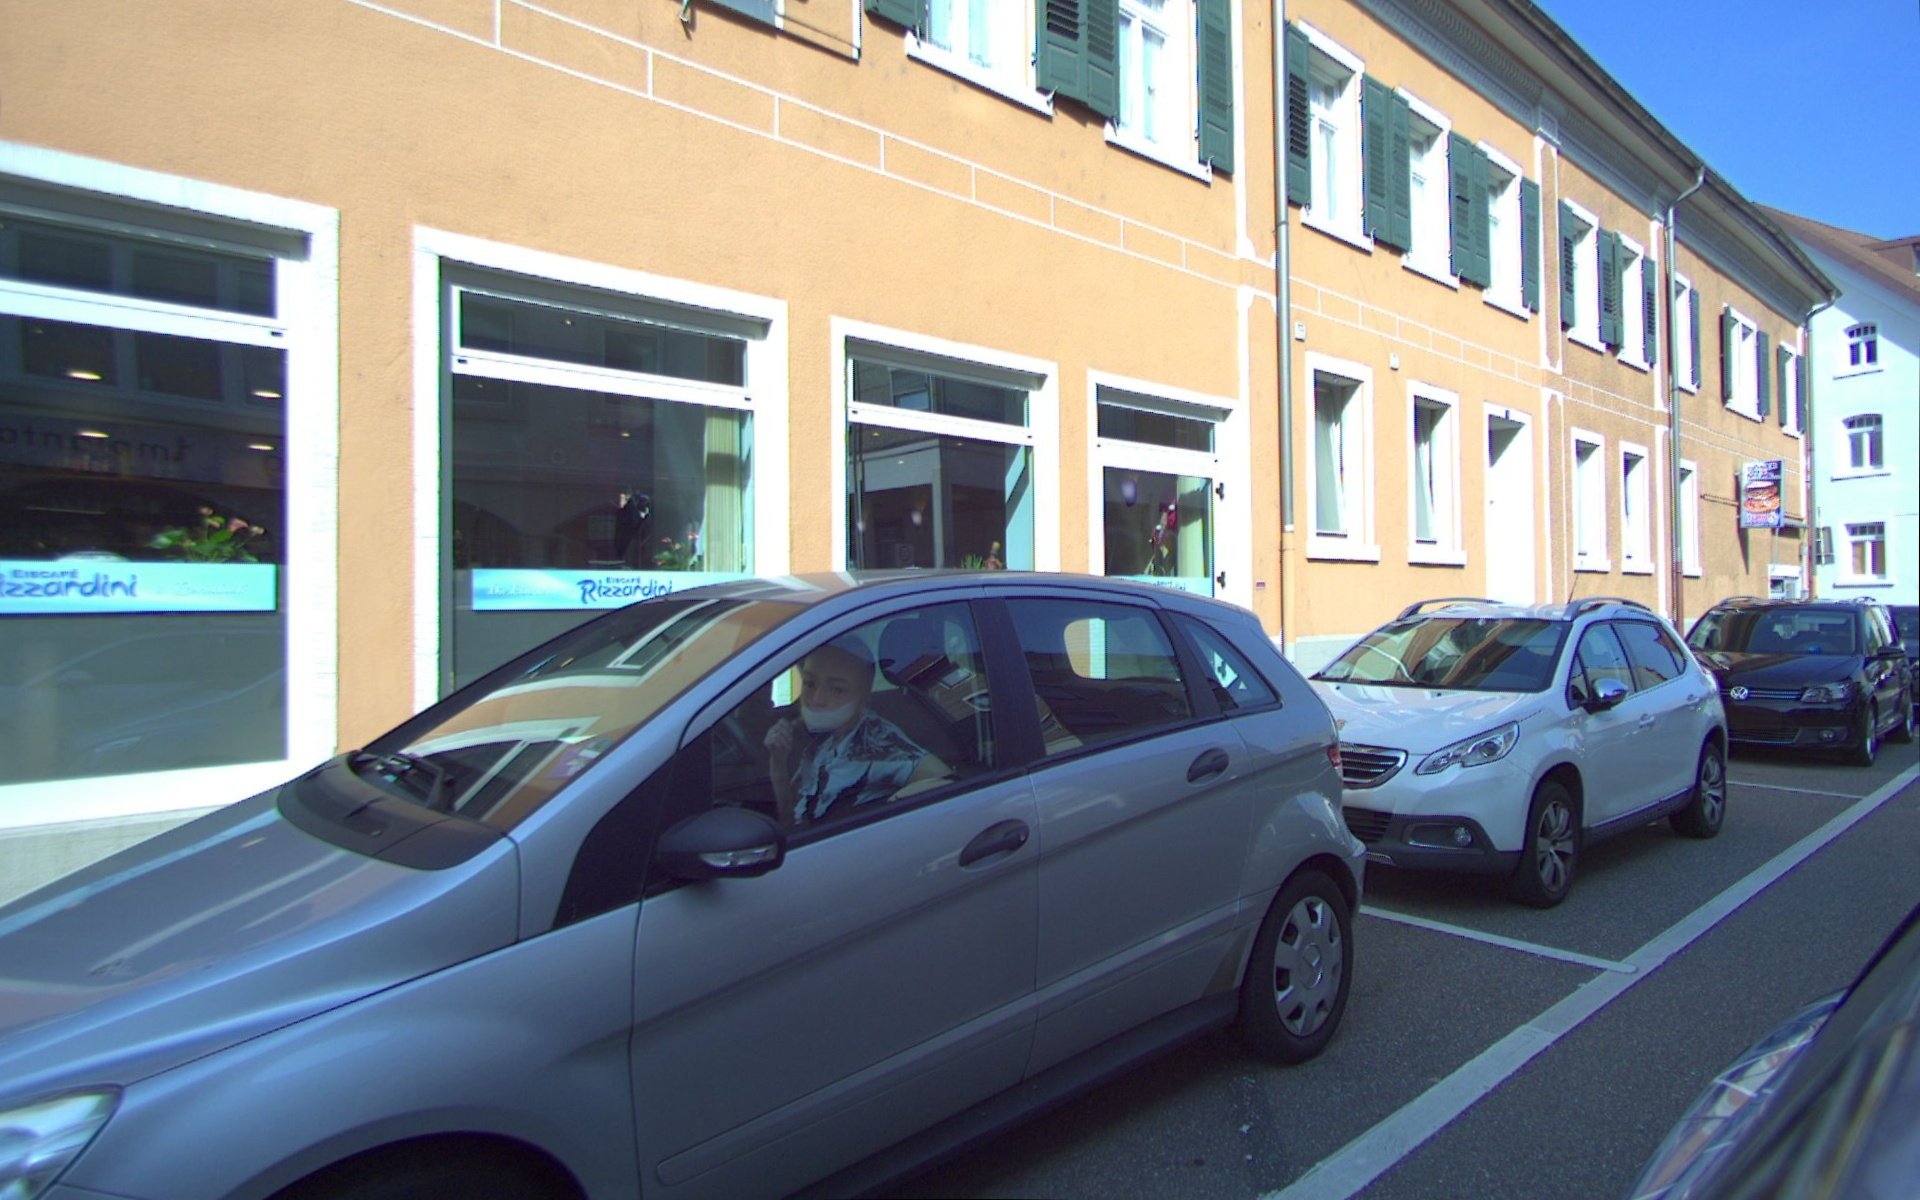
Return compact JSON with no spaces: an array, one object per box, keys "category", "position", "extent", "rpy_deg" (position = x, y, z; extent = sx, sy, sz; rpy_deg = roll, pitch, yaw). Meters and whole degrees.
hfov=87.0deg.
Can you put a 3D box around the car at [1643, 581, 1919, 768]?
[{"category":"car","position":[9.133,0.659,10.966],"extent":[4.173,1.666,1.683],"rpy_deg":[0,0,-38]}]

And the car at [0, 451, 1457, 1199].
[{"category":"car","position":[-0.335,0.642,3.146],"extent":[4.513,1.617,1.748],"rpy_deg":[0,-1,-41]}]

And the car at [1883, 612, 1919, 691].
[{"category":"car","position":[17.999,0.883,18.055],"extent":[3.627,1.336,1.682],"rpy_deg":[0,-1,-38]}]

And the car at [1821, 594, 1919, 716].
[{"category":"car","position":[13.876,0.719,14.417],"extent":[4.110,1.559,1.683],"rpy_deg":[0,0,-38]}]

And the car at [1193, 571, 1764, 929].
[{"category":"car","position":[3.436,0.679,6.398],"extent":[4.028,1.579,1.682],"rpy_deg":[0,-1,-38]}]
